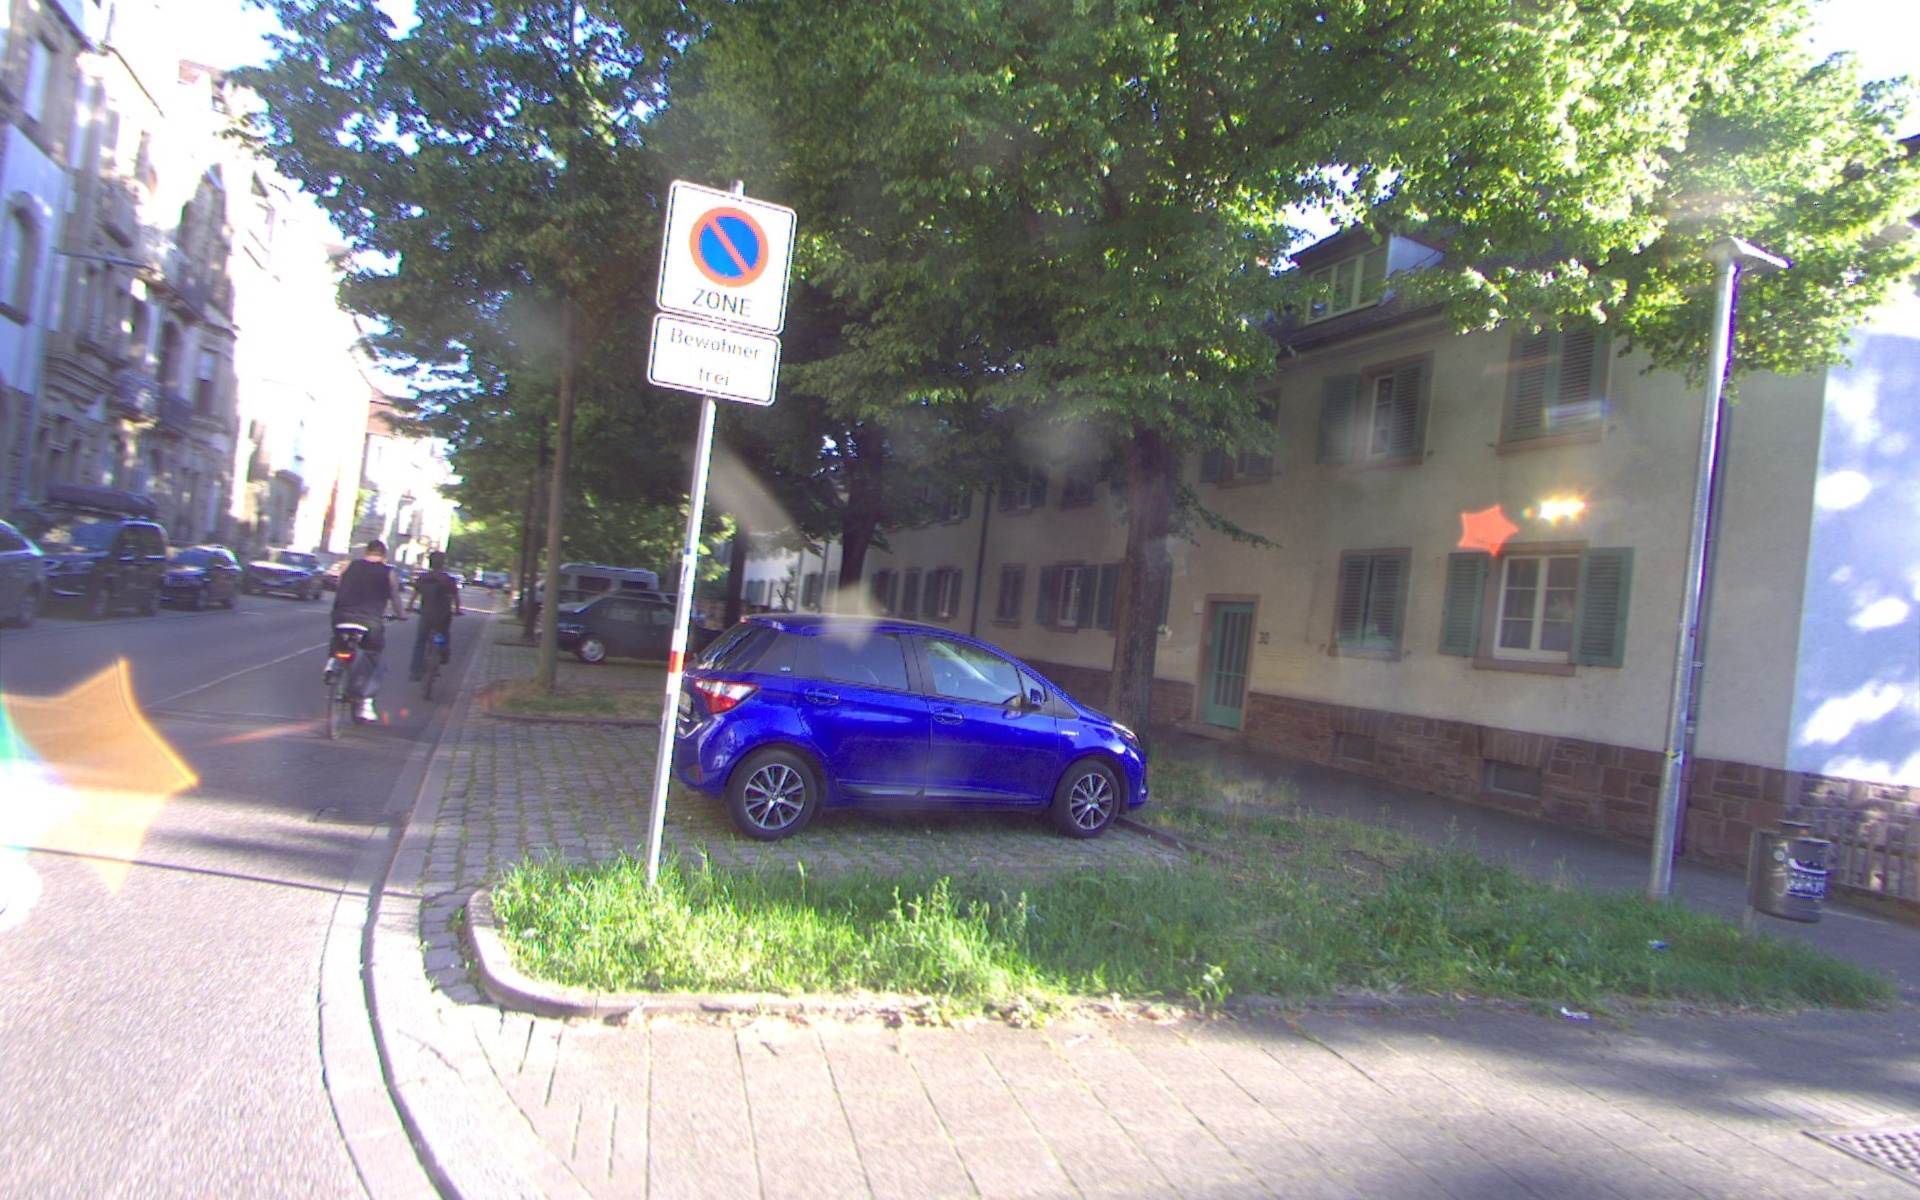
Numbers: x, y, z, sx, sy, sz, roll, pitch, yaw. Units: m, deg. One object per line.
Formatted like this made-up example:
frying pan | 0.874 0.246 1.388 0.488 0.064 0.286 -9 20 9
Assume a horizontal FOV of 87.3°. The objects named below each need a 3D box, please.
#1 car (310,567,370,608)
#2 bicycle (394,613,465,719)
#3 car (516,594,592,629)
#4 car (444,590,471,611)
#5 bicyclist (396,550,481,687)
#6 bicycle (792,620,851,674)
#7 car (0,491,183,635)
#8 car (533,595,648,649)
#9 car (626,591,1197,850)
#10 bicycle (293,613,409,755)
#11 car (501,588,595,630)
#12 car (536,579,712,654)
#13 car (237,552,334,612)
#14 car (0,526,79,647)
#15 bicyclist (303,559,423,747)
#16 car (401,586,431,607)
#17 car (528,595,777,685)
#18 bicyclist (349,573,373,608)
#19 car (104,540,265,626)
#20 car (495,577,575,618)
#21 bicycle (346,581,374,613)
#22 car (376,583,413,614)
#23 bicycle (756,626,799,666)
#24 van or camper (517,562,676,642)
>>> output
car | -29.832 -0.554 48.547 1.742 1.531 4.094 13 -6 -24
bicycle | -6.491 0.768 12.378 0.550 1.085 1.957 8 -2 -25
car | -25.230 0.747 62.487 4.202 1.665 1.846 7 -3 -24
car | -43.237 0.055 86.530 1.882 1.502 4.356 9 -4 -27
bicyclist | -6.406 0.234 12.402 0.712 1.543 0.967 8 -3 -25
bicycle | -3.575 1.190 25.788 0.624 1.176 1.919 9 -3 -32
car | -15.368 -0.623 17.424 1.953 1.995 4.471 10 -4 -26
car | -12.844 0.785 34.978 3.469 1.488 1.742 7 -4 -26
car | -0.368 0.971 7.947 3.953 1.573 1.989 7 -4 -27
bicycle | -5.533 0.714 9.133 0.691 1.084 1.954 9 -4 -32
car | -21.028 0.477 51.399 4.208 1.623 1.743 7 -3 -28
car | -9.554 0.475 28.656 4.435 1.690 1.930 6 -1 -27
car | -22.792 -0.539 34.159 2.033 1.639 4.371 9 -4 -27
car | -12.926 -0.294 12.510 1.716 1.515 4.428 10 -4 -26
bicyclist | -5.349 0.469 9.018 0.702 1.543 0.964 8 -4 -32
car | -48.973 -0.306 90.637 1.976 1.502 3.979 9 -4 -26
car | -6.655 0.890 21.881 4.850 1.458 1.932 7 -3 -27
bicyclist | -24.715 -0.378 41.529 0.659 1.361 1.053 7 -1 -28
car | -17.931 -0.304 23.516 1.713 1.591 4.688 8 -4 -23
car | -43.499 -0.199 103.047 7.262 3.319 2.213 7 -3 -24
bicycle | -24.700 -0.136 41.429 0.747 1.192 2.603 7 -2 -28
car | -35.482 -0.068 63.189 1.617 1.683 3.948 8 -4 -26
bicycle | -7.555 1.896 41.601 0.796 1.415 1.985 9 -3 -37
van or camper | -14.399 0.149 39.889 5.524 2.565 2.256 6 -3 -27
